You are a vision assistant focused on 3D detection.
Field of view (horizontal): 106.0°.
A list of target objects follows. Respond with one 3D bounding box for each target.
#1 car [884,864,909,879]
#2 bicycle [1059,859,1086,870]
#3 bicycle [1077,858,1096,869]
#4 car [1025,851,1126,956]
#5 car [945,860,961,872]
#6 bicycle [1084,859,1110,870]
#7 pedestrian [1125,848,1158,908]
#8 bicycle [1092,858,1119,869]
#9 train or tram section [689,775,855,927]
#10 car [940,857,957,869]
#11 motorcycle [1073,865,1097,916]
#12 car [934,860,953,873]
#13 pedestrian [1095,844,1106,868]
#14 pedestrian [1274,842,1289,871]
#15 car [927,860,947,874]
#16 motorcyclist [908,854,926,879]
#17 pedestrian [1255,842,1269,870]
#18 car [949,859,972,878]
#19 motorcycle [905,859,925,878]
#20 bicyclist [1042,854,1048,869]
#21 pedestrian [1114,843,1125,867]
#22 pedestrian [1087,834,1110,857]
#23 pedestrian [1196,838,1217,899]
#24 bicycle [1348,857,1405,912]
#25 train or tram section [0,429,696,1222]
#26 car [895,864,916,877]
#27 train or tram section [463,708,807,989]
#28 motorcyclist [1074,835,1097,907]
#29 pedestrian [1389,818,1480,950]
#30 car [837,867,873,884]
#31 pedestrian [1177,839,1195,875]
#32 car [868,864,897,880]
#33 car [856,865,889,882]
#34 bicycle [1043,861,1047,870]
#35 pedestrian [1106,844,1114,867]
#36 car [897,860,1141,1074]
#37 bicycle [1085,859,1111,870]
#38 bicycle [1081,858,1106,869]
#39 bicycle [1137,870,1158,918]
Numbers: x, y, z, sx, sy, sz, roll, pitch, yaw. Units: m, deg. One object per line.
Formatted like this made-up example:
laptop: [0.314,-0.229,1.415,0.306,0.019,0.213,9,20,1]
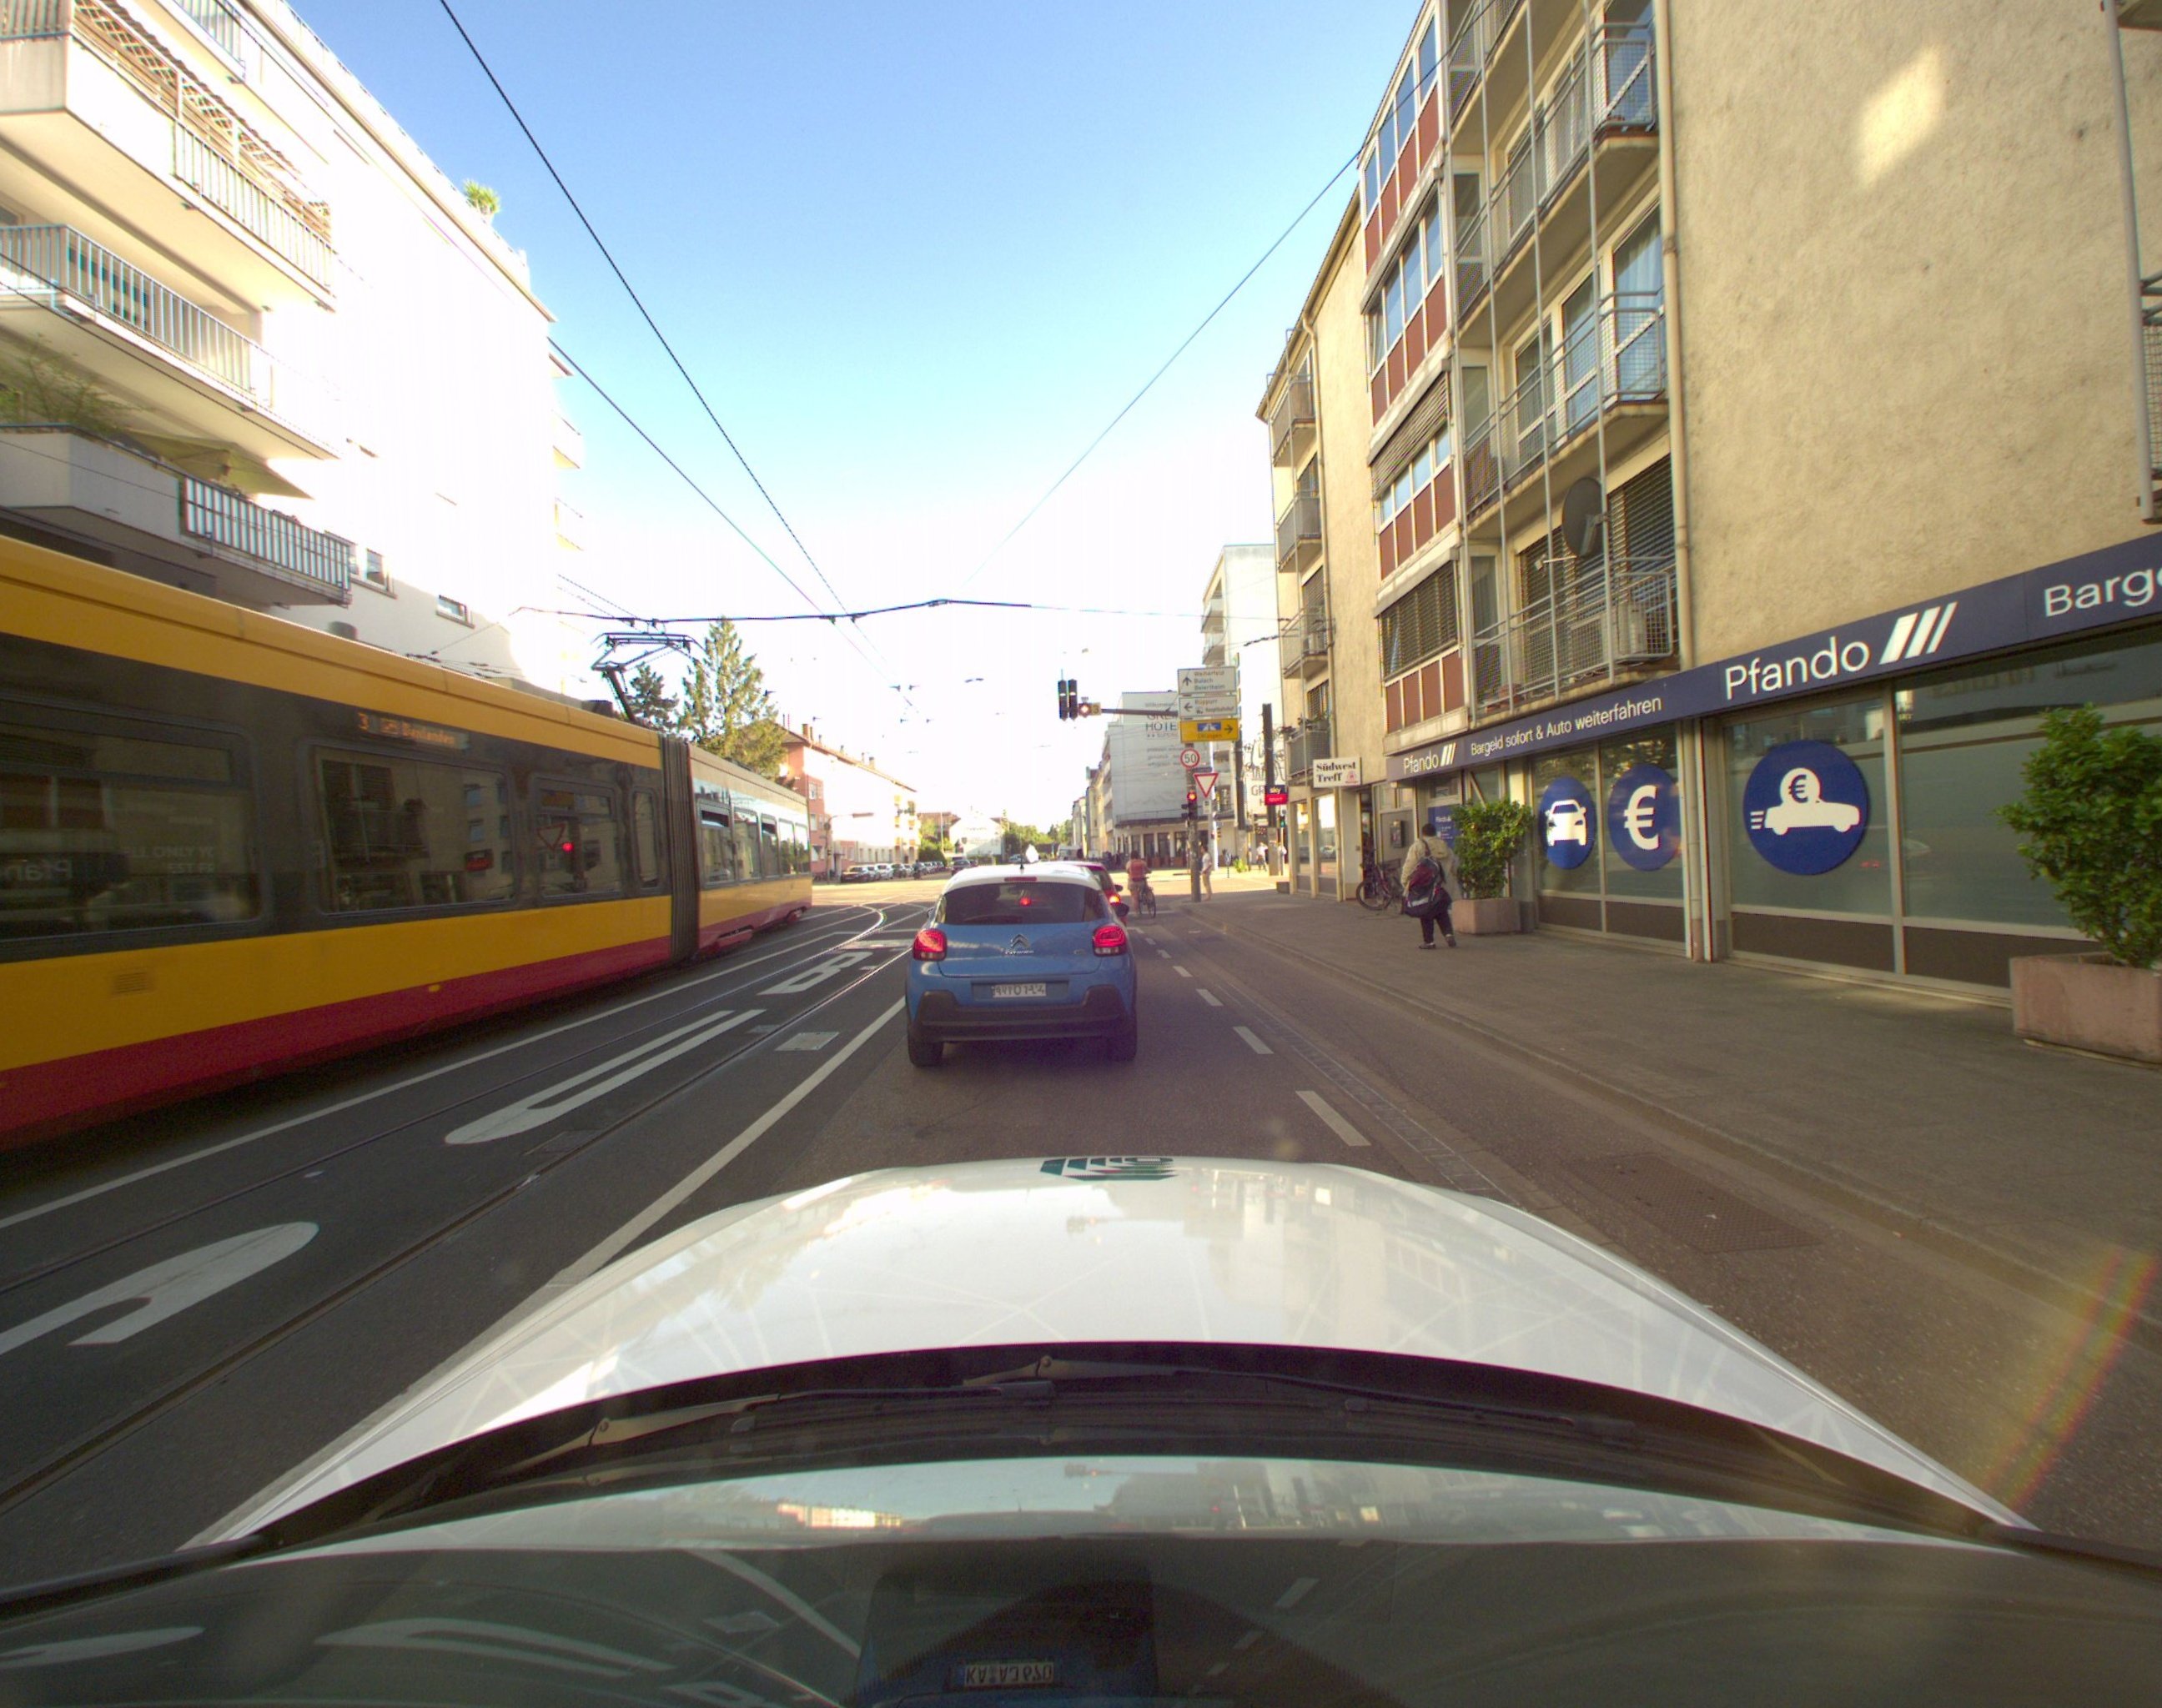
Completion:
car: [-19.625,1.823,86.688,1.781,1.498,3.998,0,-1,-1]
bicycle: [-0.711,0.877,66.414,2.130,0.901,0.366,0,-1,-7]
bicycle: [0.475,0.821,69.568,1.765,0.901,0.369,-1,-1,36]
car: [-0.030,0.737,13.335,1.419,1.467,2.925,-2,-1,2]
car: [-19.140,1.773,121.898,1.841,1.687,3.872,0,-1,-1]
bicycle: [1.318,0.872,67.796,2.130,0.901,0.366,0,-1,-7]
pedestrian: [1.496,0.598,20.307,0.774,1.460,0.682,0,-1,1]
bicycle: [2.001,0.767,66.050,2.130,0.901,0.366,0,-1,-7]
train or tram section: [-9.411,-0.015,26.724,2.746,3.632,14.208,0,-1,-11]
car: [-19.061,1.274,117.357,1.828,1.687,3.998,0,-1,-1]
motorcycle: [0.115,0.834,19.563,0.524,1.139,2.290,0,-1,2]
car: [-18.870,1.690,111.868,1.877,1.687,3.998,0,-1,-1]
pedestrian: [1.622,0.175,69.352,0.635,2.014,0.717,0,-1,-34]
pedestrian: [11.503,0.162,46.798,0.747,1.657,0.885,-1,-1,9]
car: [-18.867,1.683,106.691,1.978,1.687,3.998,0,-1,-1]
motorcyclist: [-13.573,1.059,67.456,1.182,2.013,1.275,-2,0,-1]
pedestrian: [10.547,0.123,47.395,0.730,1.601,0.751,-1,-1,15]
car: [-11.350,1.347,76.838,1.770,1.666,3.854,0,-1,-2]
motorcycle: [-13.607,1.154,66.988,0.921,1.486,3.724,0,-1,-1]
bicyclist: [-3.523,0.698,80.179,0.559,1.477,0.747,0,-1,-2]
pedestrian: [3.315,0.081,69.817,0.711,2.014,0.755,0,-1,-16]
pedestrian: [1.630,-0.728,73.695,1.986,2.014,4.001,0,-1,2]
pedestrian: [3.729,0.437,24.291,0.515,1.783,0.595,0,-1,0]
bicycle: [5.697,0.568,15.782,0.540,0.998,1.706,0,-1,2]
train or tram section: [-6.426,-0.082,4.225,3.054,3.594,12.621,-3,0,-2]
car: [-19.950,1.859,92.705,1.728,1.498,3.996,0,-1,-2]
train or tram section: [-7.355,-0.052,15.244,2.825,3.631,9.052,0,0,-10]
motorcyclist: [0.121,0.401,19.754,0.524,1.716,0.717,0,-1,1]
pedestrian: [4.441,0.370,10.278,0.822,1.593,0.751,0,-1,1]
car: [-19.234,1.822,69.459,1.787,1.421,3.996,0,-1,1]
pedestrian: [6.056,0.169,46.967,0.922,2.014,0.760,0,-1,1]
car: [-19.426,1.751,79.916,1.781,1.511,4.150,0,-1,1]
car: [-19.268,1.800,75.256,1.808,1.498,4.302,0,-1,2]
bicycle: [-3.512,1.112,80.236,0.348,0.903,1.857,0,-1,-3]
pedestrian: [2.507,0.143,70.413,0.575,2.014,0.625,0,-1,-1]
car: [-0.368,0.782,7.297,1.648,1.444,3.524,0,-1,2]
bicycle: [1.373,0.869,67.380,2.130,0.901,0.366,0,-1,-7]
bicycle: [1.052,0.820,68.482,2.130,0.901,0.366,0,-1,-7]
bicycle: [1.660,0.973,20.589,0.426,1.123,1.999,0,-1,2]
